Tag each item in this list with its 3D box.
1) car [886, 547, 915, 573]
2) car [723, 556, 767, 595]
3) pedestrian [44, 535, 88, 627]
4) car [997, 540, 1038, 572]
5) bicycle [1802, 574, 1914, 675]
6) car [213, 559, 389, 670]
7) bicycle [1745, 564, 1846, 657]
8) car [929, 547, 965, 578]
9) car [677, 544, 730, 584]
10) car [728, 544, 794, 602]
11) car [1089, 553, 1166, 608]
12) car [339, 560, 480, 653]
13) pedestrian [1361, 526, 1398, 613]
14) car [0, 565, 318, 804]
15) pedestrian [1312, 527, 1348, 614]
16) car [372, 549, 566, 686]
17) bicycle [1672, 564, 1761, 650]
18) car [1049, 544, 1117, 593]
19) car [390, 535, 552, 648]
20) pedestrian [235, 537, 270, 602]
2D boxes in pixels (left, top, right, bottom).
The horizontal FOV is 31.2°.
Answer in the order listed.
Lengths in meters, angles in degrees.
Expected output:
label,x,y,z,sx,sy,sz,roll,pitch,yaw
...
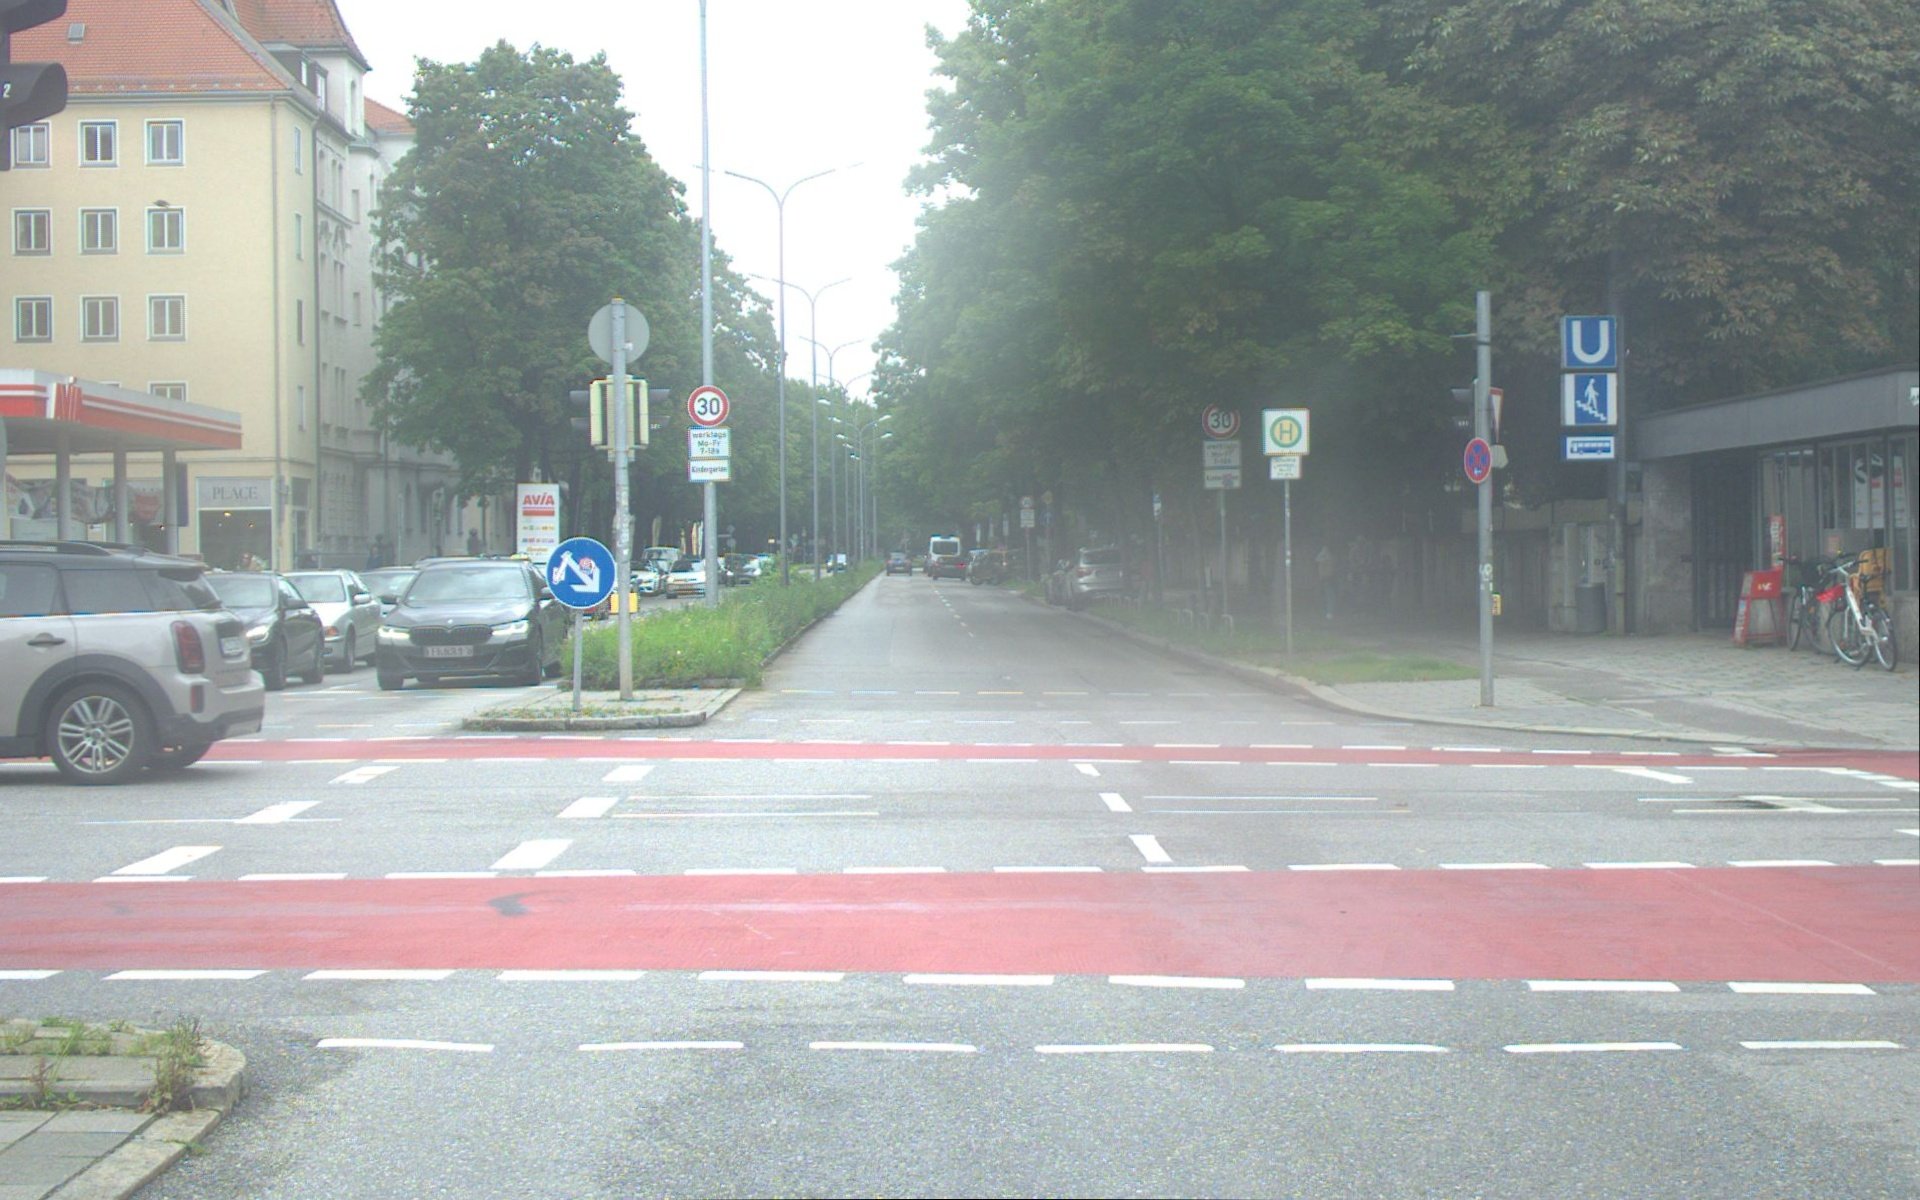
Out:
label,x,y,z,sx,sy,sz,roll,pitch,yaw
car,-3.874,-2.617,225.051,1.857,1.678,4.000,-1,1,-1
car,-10.472,-1.200,167.787,1.952,1.817,4.000,0,1,-1
pedestrian,-19.752,-0.423,75.957,0.730,2.007,0.834,1,0,-1
car,2.652,-2.046,159.877,1.743,1.422,3.899,-1,1,-1
bicycle,9.406,0.242,36.079,0.556,1.011,2.016,-1,1,-3
car,-9.222,0.174,48.392,1.759,1.455,4.000,-1,1,-1
bicycle,9.416,0.105,38.811,0.556,1.011,2.016,-1,1,-3
car,-0.738,-2.100,192.452,1.922,1.678,4.000,-1,1,-1
car,-9.710,-1.366,130.229,1.759,1.455,4.000,-1,1,-1
car,-4.934,-0.679,85.450,1.468,1.394,3.700,-1,1,-1
car,4.344,-0.529,89.758,1.743,1.358,3.807,-1,1,-1
car,-9.123,0.080,57.225,1.759,1.455,4.000,-1,1,-1
pedestrian,8.143,-0.588,66.704,0.678,1.677,0.682,0,1,5
car,-6.512,0.544,22.871,4.168,1.508,1.695,-1,1,-1
pedestrian,7.170,-0.572,66.687,0.678,1.677,0.682,0,1,5
car,-5.711,0.167,40.362,1.759,1.488,4.000,-1,1,-1
bicycle,9.263,0.078,42.150,0.556,1.011,2.016,-1,1,-3
car,3.551,-0.926,99.684,1.743,1.358,3.807,-1,1,-1
car,-6.800,-0.151,48.113,1.759,1.488,4.000,-1,1,-1
pedestrian,-17.740,-0.770,86.207,0.696,1.632,0.738,-1,1,-1
